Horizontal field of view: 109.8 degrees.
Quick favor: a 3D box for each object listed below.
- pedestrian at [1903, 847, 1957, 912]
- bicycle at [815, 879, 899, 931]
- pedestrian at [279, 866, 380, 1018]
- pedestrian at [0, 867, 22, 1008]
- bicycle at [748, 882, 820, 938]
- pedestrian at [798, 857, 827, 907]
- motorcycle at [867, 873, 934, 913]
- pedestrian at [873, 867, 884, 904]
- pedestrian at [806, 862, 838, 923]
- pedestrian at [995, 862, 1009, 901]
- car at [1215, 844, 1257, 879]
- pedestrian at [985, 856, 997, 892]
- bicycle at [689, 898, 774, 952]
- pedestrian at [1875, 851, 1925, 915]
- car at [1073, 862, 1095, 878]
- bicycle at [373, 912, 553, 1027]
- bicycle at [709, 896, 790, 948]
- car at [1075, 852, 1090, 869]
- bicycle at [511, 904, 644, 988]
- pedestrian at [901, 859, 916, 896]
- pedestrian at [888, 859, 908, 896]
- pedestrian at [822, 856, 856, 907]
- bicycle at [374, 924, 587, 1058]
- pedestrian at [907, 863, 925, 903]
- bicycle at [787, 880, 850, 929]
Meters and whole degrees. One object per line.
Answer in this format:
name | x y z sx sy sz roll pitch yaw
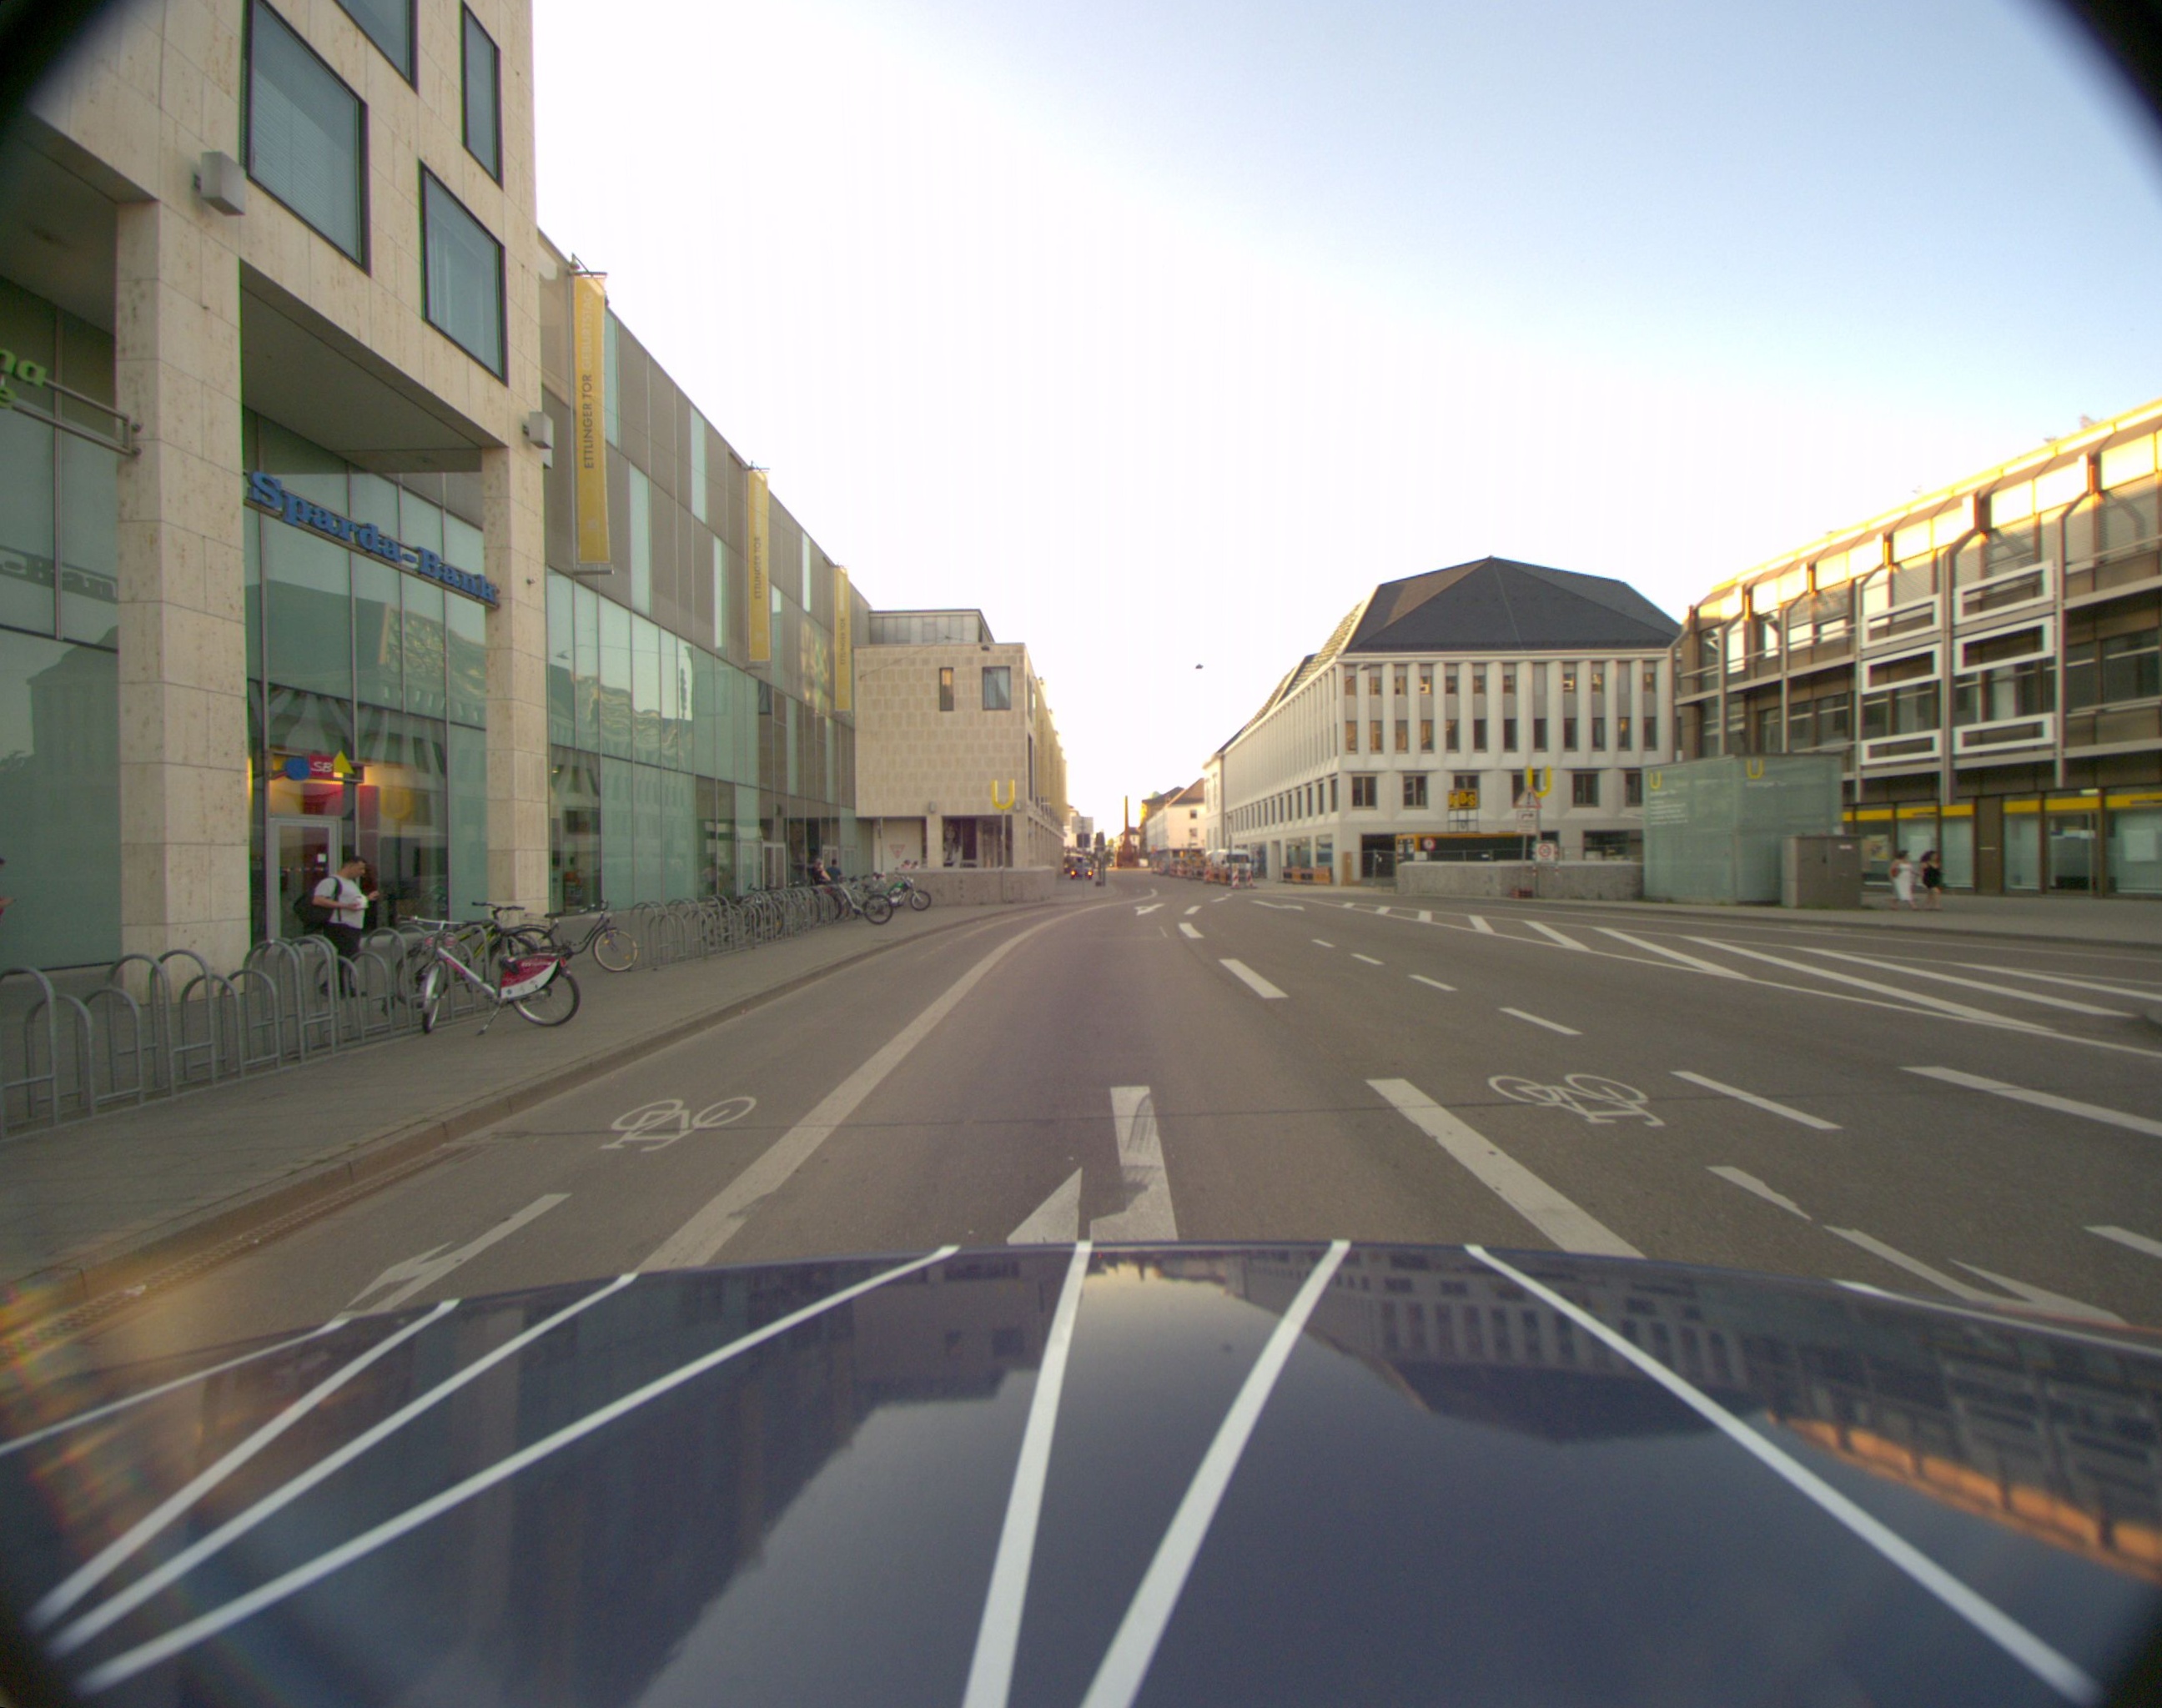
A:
pedestrian | 21.948 0.653 19.659 0.616 1.629 0.703 -1 0 1
bicycle | -5.388 1.220 18.318 1.838 1.140 0.466 -3 0 1
pedestrian | -8.789 0.991 8.915 0.709 1.682 0.628 -1 0 -33
pedestrian | -12.931 0.972 8.687 0.629 1.642 0.708 -1 0 2
bicycle | -6.658 1.239 17.076 1.345 1.157 0.518 -3 0 -1
pedestrian | -9.068 0.923 25.692 0.821 1.638 0.739 -1 0 -26
motorcycle | -5.710 1.243 24.083 2.007 1.217 0.480 -1 0 -2
pedestrian | -9.589 1.499 36.009 0.364 1.733 0.452 -1 0 3
pedestrian | -7.040 1.028 20.664 0.809 1.633 0.646 -1 0 -18
pedestrian | -3.522 1.217 33.738 0.516 1.733 0.493 -1 0 3
car | 11.986 0.592 59.162 2.141 2.540 6.050 -1 0 1
pedestrian | -4.305 0.956 36.448 0.454 1.733 0.493 -1 0 3
bicycle | -6.654 1.345 14.502 1.345 0.927 0.518 -3 0 -1
pedestrian | 21.162 0.747 19.637 0.670 1.629 0.584 -1 0 1
car | 0.328 1.366 67.638 1.798 1.365 3.671 -1 0 2
bicycle | -6.797 1.259 8.391 1.518 1.117 0.581 -3 0 4
bicycle | -6.595 1.354 15.148 1.345 0.927 0.518 -3 0 -1
car | 0.233 0.862 100.759 1.798 2.198 3.671 -1 0 2
bicycle | -7.301 1.316 11.071 1.447 1.058 0.580 -3 0 -10
pedestrian | -8.224 1.122 36.243 0.494 1.733 0.657 -1 0 3
pedestrian | -8.887 1.137 36.908 0.793 1.733 0.657 -1 0 3
pedestrian | -8.229 0.919 25.878 0.697 1.686 0.822 -1 0 26
bicycle | -5.397 1.220 6.865 1.518 1.057 0.466 -3 0 1
pedestrian | -7.498 1.298 34.563 0.619 1.770 0.812 -1 0 3
bicycle | -6.602 1.266 19.162 1.345 1.157 0.518 -3 0 -1
